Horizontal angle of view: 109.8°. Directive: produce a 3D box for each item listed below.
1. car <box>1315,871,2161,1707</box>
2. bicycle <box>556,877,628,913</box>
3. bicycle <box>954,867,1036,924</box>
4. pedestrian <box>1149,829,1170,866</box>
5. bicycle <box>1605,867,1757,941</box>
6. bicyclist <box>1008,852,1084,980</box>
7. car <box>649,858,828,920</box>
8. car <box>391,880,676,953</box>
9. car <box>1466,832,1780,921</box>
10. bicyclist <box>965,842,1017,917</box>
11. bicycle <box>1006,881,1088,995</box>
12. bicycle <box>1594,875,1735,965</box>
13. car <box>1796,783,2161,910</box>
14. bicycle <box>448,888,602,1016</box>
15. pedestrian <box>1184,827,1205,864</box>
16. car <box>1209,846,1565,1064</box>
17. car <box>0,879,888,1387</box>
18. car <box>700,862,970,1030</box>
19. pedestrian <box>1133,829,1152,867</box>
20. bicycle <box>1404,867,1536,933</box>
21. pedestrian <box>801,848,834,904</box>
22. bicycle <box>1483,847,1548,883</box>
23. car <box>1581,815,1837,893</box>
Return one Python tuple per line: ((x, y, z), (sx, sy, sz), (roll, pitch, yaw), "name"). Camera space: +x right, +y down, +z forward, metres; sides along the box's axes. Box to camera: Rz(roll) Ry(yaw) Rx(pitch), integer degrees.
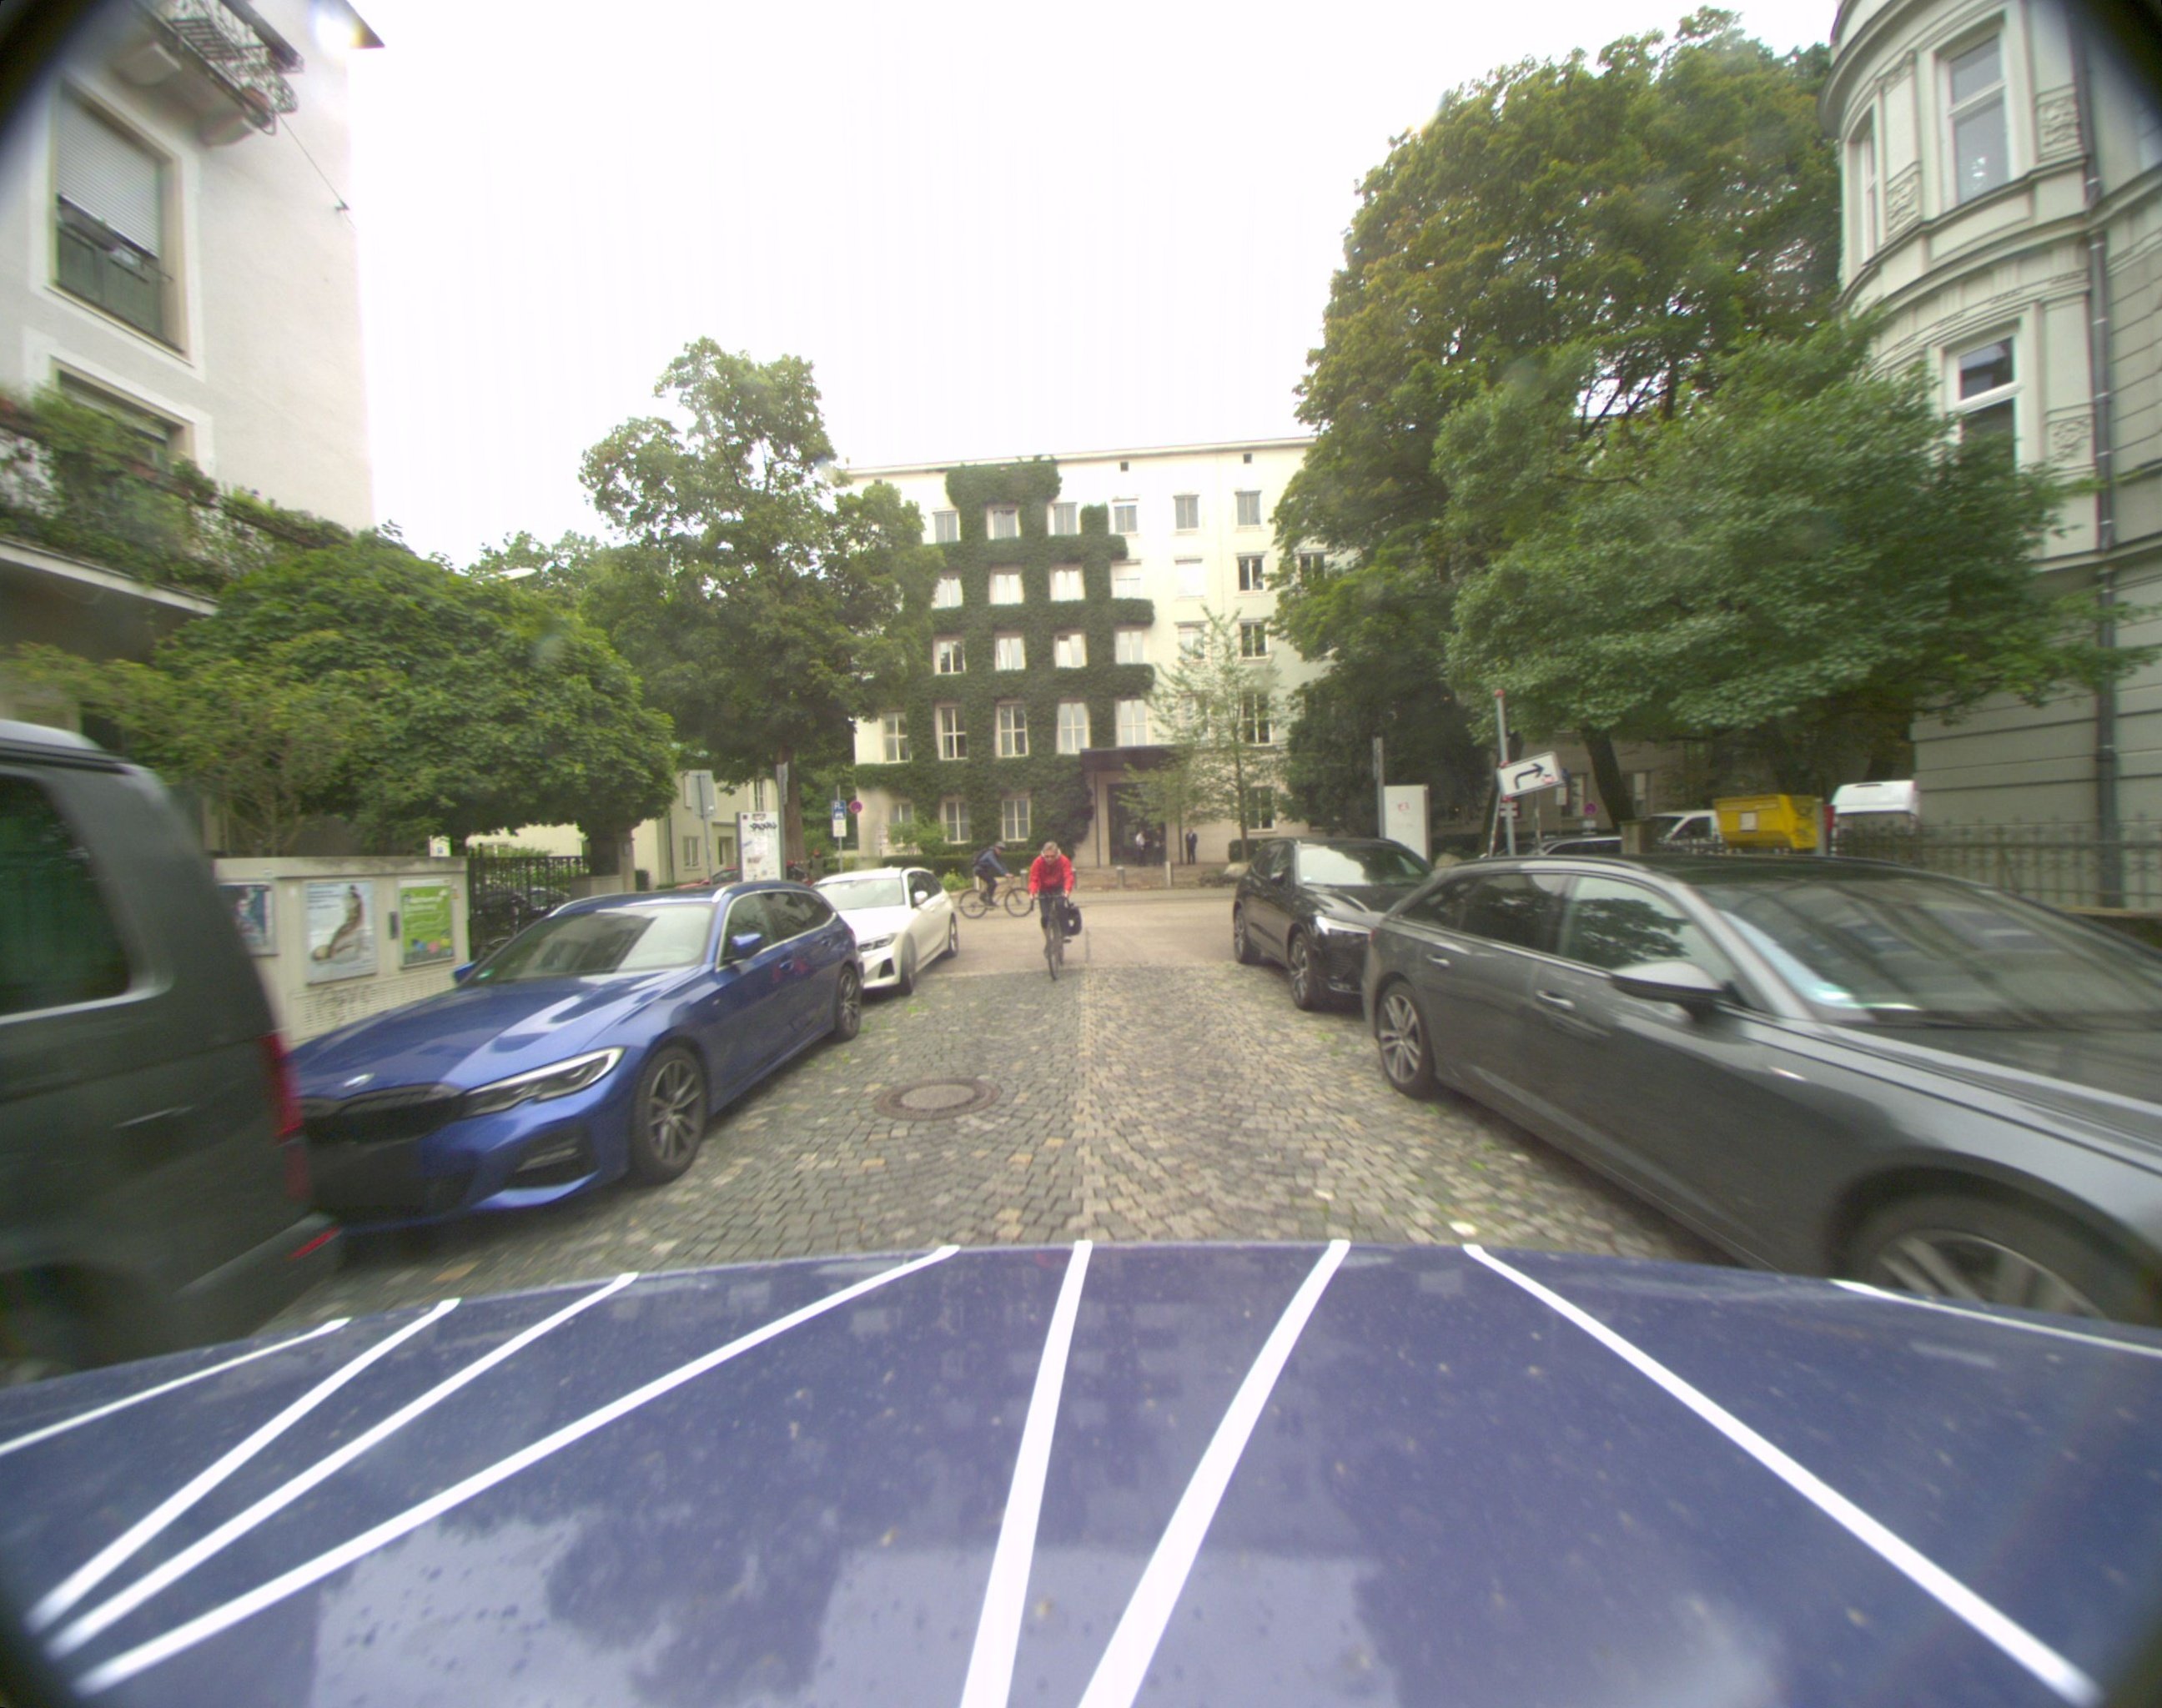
((2.796, 0.892, 3.260), (1.810, 1.496, 5.176), (0, 0, -2), "car")
((-16.364, 1.375, 25.426), (2.045, 1.124, 0.652), (-2, 1, 7), "bicycle")
((-2.012, 0.968, 17.934), (1.800, 1.200, 0.720), (-3, 2, 0), "bicycle")
((3.778, -0.333, 36.541), (0.900, 1.743, 0.752), (-1, 1, -2), "pedestrian")
((9.216, 0.764, 11.701), (1.888, 1.022, 0.431), (-3, 1, 4), "bicycle")
((-0.410, 0.732, 9.450), (0.756, 1.475, 0.981), (-1, 2, 7), "bicyclist")
((-10.325, 1.028, 23.192), (4.524, 1.581, 1.892), (-2, 2, 0), "car")
((-11.468, 1.277, 16.176), (4.592, 1.311, 2.007), (-2, -2, 0), "car")
((10.610, 0.439, 15.247), (4.581, 1.537, 2.281), (-1, 0, 5), "car")
((-2.113, 0.583, 17.936), (1.034, 1.658, 0.780), (-3, 2, 0), "bicyclist")
((-0.376, 0.990, 9.539), (0.673, 1.135, 2.011), (-1, 2, 7), "bicycle")
((7.828, 0.835, 10.318), (0.556, 1.022, 1.930), (-3, 0, 6), "bicycle")
((17.545, -0.127, 14.908), (4.851, 2.195, 2.211), (-1, 0, 1), "car")
((-6.766, 1.130, 9.379), (0.467, 1.268, 1.918), (-3, 1, -2), "bicycle")
((5.431, -0.401, 36.385), (0.900, 1.743, 0.752), (-1, 1, -2), "pedestrian")
((2.843, 0.776, 8.546), (1.942, 1.642, 5.053), (2, 1, 0), "car")
((-2.945, 1.093, 5.184), (1.934, 1.498, 4.874), (-3, 1, 0), "car")
((-2.898, 0.978, 10.290), (1.911, 1.522, 4.922), (-4, 0, 0), "car")
((2.926, -0.292, 36.322), (0.752, 1.743, 0.901), (-2, 1, 0), "pedestrian")
((7.091, 0.810, 13.850), (2.202, 1.022, 0.655), (-3, 1, -13), "bicycle")
((-8.934, 0.749, 25.768), (0.796, 1.842, 0.714), (-2, 2, 1), "pedestrian")
((14.222, 0.348, 24.893), (1.765, 1.096, 0.635), (-1, 2, 4), "bicycle")
((17.766, -0.041, 21.722), (5.449, 1.946, 2.254), (-2, 2, 0), "car")
